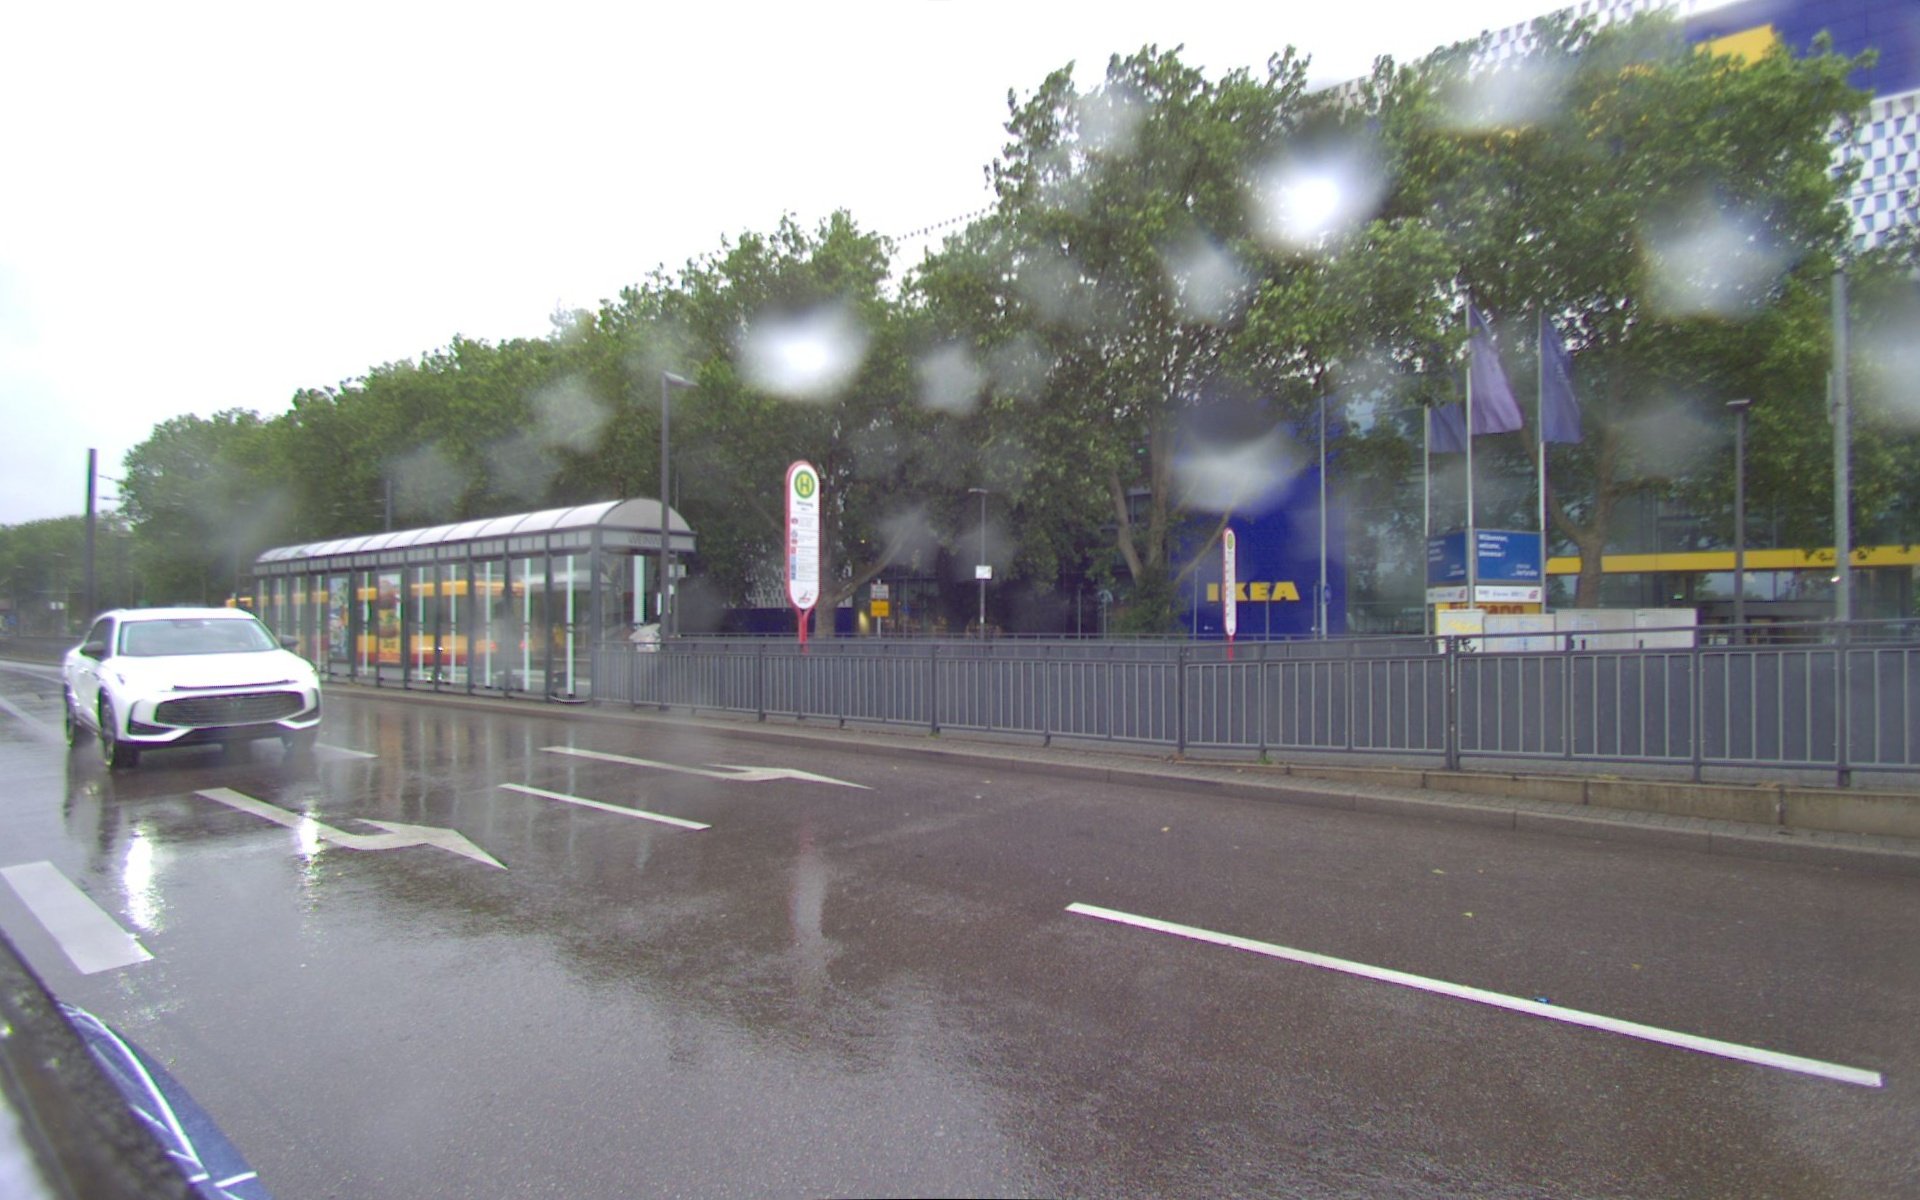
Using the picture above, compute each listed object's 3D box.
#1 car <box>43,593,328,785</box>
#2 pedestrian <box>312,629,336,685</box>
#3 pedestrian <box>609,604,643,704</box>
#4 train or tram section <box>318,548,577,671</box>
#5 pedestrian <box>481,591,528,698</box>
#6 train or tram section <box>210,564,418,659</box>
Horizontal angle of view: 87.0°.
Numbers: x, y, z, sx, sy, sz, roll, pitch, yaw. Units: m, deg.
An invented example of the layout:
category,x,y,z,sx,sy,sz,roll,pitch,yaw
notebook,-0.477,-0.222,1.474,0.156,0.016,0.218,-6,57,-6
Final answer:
category,x,y,z,sx,sy,sz,roll,pitch,yaw
car,-9.166,0.865,11.814,4.664,1.788,1.909,-1,0,43
pedestrian,-14.594,1.291,23.213,0.451,1.245,0.468,0,0,-35
pedestrian,-5.169,0.826,15.672,0.317,1.504,0.416,-2,1,-44
train or tram section,-19.363,0.365,37.530,13.245,3.868,3.703,-1,0,40
pedestrian,-8.312,0.792,18.455,0.646,1.885,0.774,-1,0,-33
train or tram section,-30.318,0.541,46.882,15.560,3.827,3.703,-1,0,40
